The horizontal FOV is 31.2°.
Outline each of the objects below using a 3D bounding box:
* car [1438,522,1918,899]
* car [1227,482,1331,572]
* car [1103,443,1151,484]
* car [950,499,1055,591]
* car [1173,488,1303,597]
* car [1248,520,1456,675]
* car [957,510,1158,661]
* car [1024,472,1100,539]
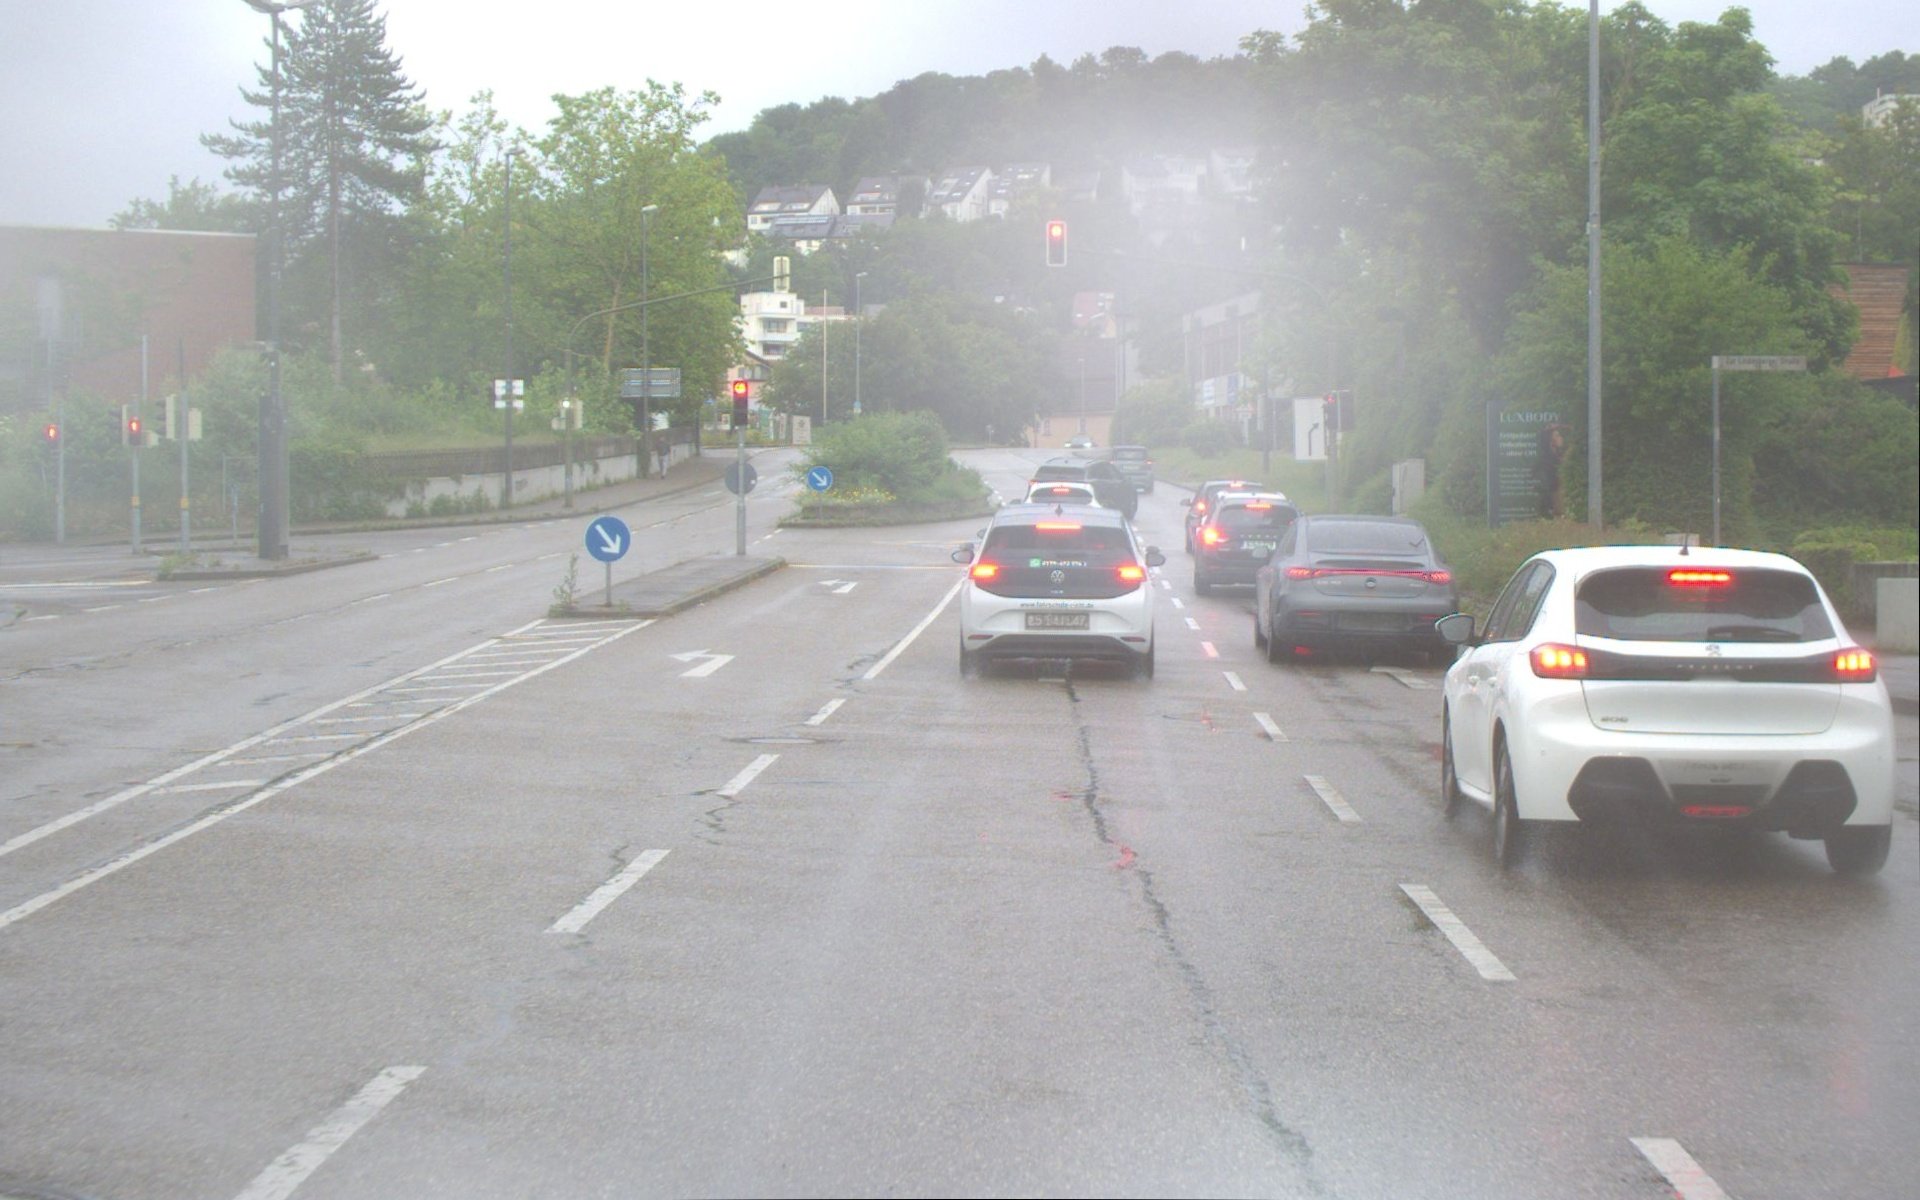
[{"bbox_3d":[3.285,0.418,16.419,1.691,1.514,3.933,1,2,4],"label":"car"},{"bbox_3d":[5.576,-1.259,60.364,1.565,1.392,3.957,-1,-1,2],"label":"car"},{"bbox_3d":[5.384,-4.403,111.056,1.366,1.153,2.427,-1,-1,-1],"label":"car"},{"bbox_3d":[0.554,-0.728,46.391,1.212,1.152,2.270,-1,-1,-4],"label":"car"},{"bbox_3d":[4.170,-0.843,51.961,1.648,1.480,3.366,-1,-1,0],"label":"car"},{"bbox_3d":[4.000,-0.061,35.499,1.734,1.383,3.353,1,3,0],"label":"car"},{"bbox_3d":[0.923,-0.124,31.937,1.741,1.291,3.333,-1,0,2],"label":"car"},{"bbox_3d":[1.921,-1.787,65.216,1.385,1.123,2.610,-1,-1,1],"label":"car"}]
